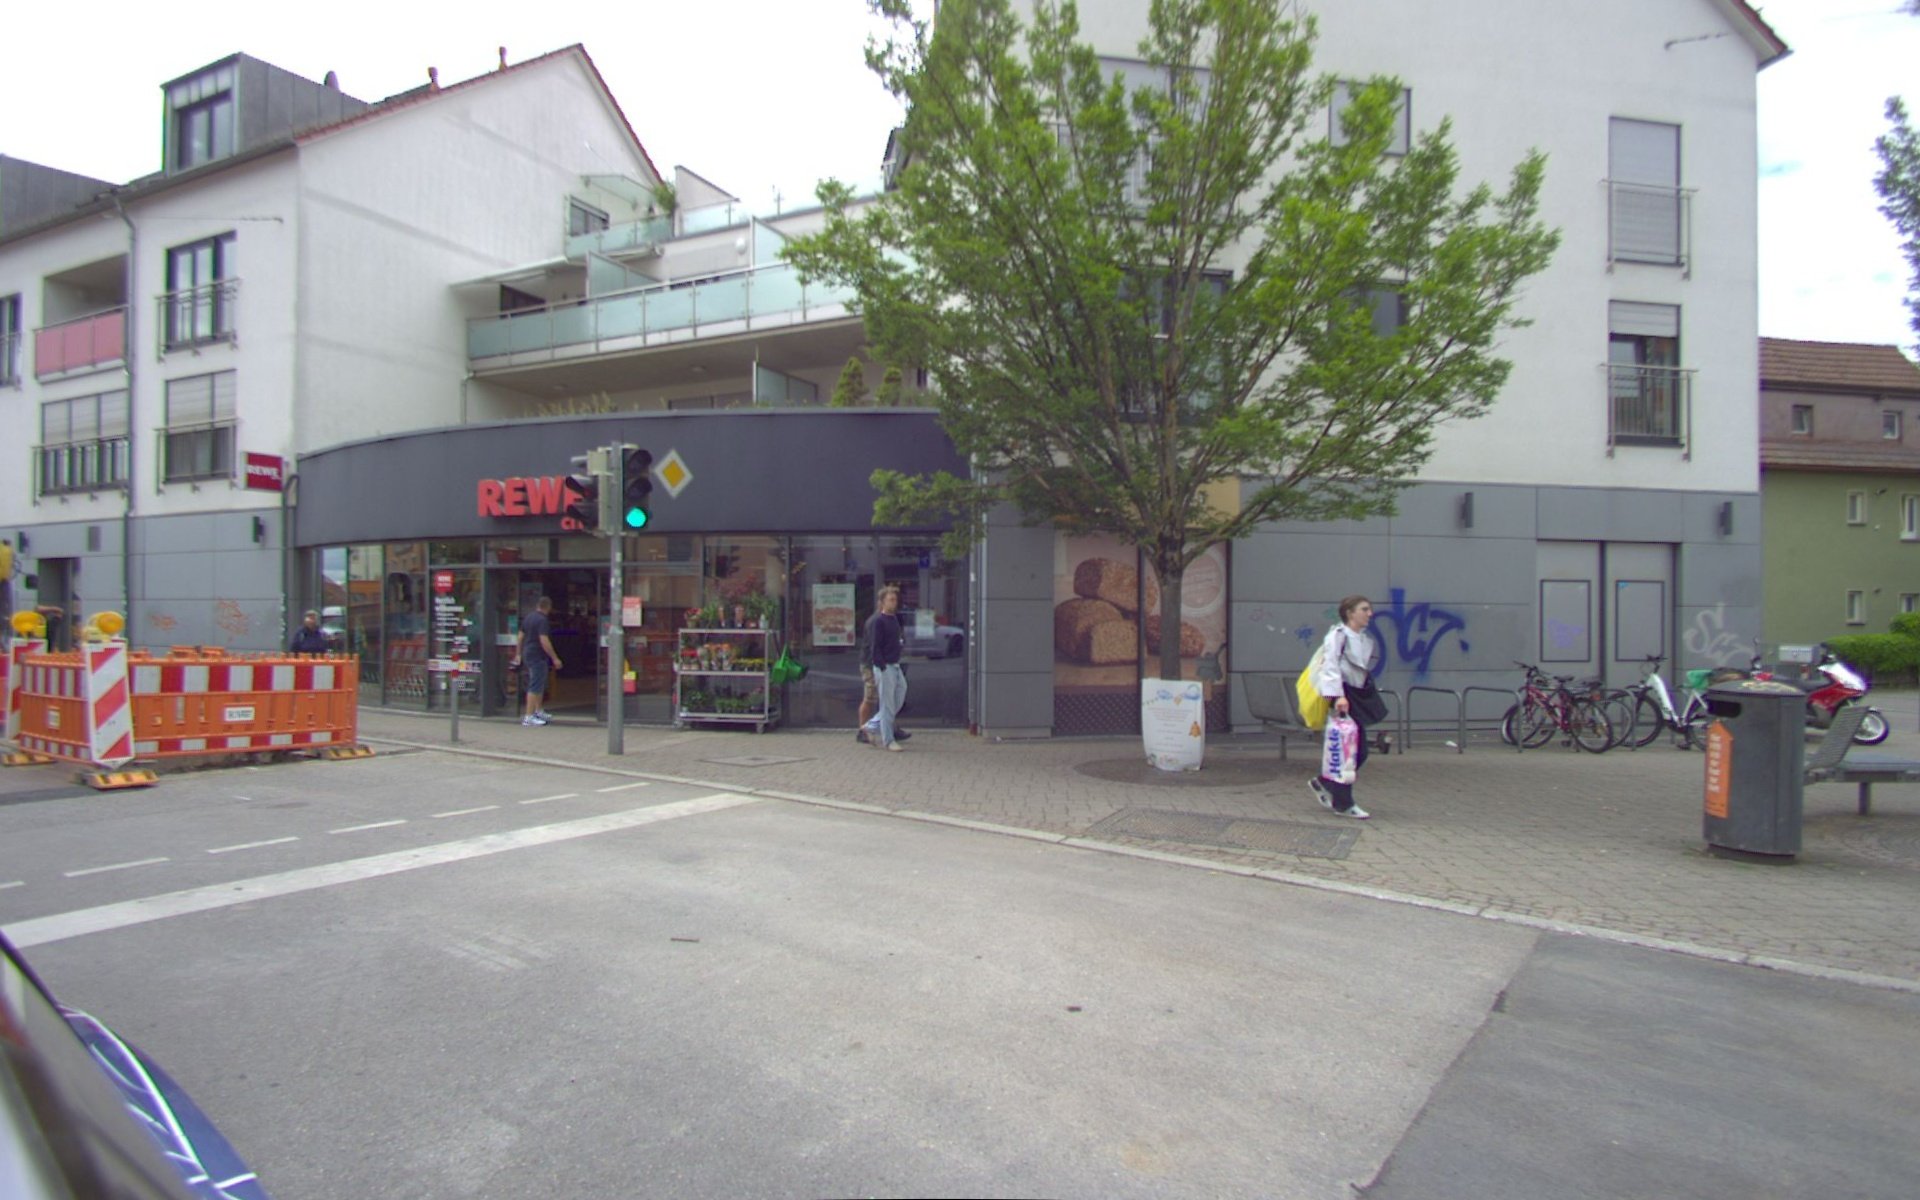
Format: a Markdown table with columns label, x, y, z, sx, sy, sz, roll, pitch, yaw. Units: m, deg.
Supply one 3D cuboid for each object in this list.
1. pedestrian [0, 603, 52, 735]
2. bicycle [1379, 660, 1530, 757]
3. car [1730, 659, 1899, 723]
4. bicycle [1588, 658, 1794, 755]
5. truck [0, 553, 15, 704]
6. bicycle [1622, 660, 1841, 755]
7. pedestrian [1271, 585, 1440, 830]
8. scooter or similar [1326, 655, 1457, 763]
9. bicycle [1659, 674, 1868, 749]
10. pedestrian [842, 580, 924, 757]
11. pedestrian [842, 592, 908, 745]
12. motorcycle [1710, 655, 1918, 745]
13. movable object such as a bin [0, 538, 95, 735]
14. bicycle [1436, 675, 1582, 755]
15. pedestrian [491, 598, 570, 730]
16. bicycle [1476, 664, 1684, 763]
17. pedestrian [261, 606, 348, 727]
| label | x | y | z | sx | sy | sz | roll | pitch | yaw |
| --- | --- | --- | --- | --- | --- | --- | --- | --- | --- |
| pedestrian | -12.799 | 0.922 | 13.769 | 0.442 | 1.757 | 0.533 | -1 | -2 | 32 |
| bicycle | 5.794 | 1.270 | 11.984 | 0.522 | 1.054 | 1.750 | 1 | -6 | -15 |
| car | 14.349 | 1.495 | 17.074 | 0.964 | 0.948 | 1.933 | 1 | -2 | -20 |
| bicycle | 8.871 | 1.254 | 12.411 | 0.798 | 1.082 | 1.965 | 1 | -3 | -13 |
| truck | -20.991 | 0.594 | 19.023 | 6.817 | 2.746 | 2.714 | -2 | -2 | 29 |
| bicycle | 9.659 | 1.317 | 12.804 | 0.681 | 1.069 | 2.132 | 0 | -4 | -18 |
| pedestrian | 2.794 | 0.719 | 7.191 | 0.672 | 1.604 | 0.881 | 1 | -2 | -36 |
| scooter or similar | 5.027 | 1.241 | 11.898 | 0.587 | 1.132 | 1.537 | 0 | -2 | -14 |
| bicycle | 10.357 | 1.407 | 13.162 | 0.618 | 0.873 | 2.081 | 0 | -4 | -18 |
| pedestrian | -0.867 | 0.763 | 11.539 | 0.775 | 1.940 | 0.815 | -1 | -1 | 7 |
| pedestrian | -1.032 | 0.822 | 12.385 | 0.709 | 1.804 | 0.693 | -1 | -1 | 3 |
| motorcycle | 11.388 | 1.303 | 13.602 | 0.789 | 1.113 | 1.961 | 1 | -4 | -18 |
| movable object such as a bin | -15.430 | 0.518 | 15.563 | 4.488 | 2.784 | 1.826 | 0 | -1 | 30 |
| bicycle | 6.530 | 1.376 | 12.137 | 0.488 | 0.890 | 1.633 | 1 | -7 | -15 |
| pedestrian | -6.237 | 0.907 | 14.695 | 0.786 | 1.858 | 0.747 | -2 | -2 | 32 |
| bicycle | 7.286 | 1.293 | 12.058 | 0.738 | 1.054 | 2.157 | 1 | -4 | -15 |
| pedestrian | -9.757 | 0.967 | 15.067 | 0.814 | 1.726 | 0.825 | -2 | -2 | 34 |
